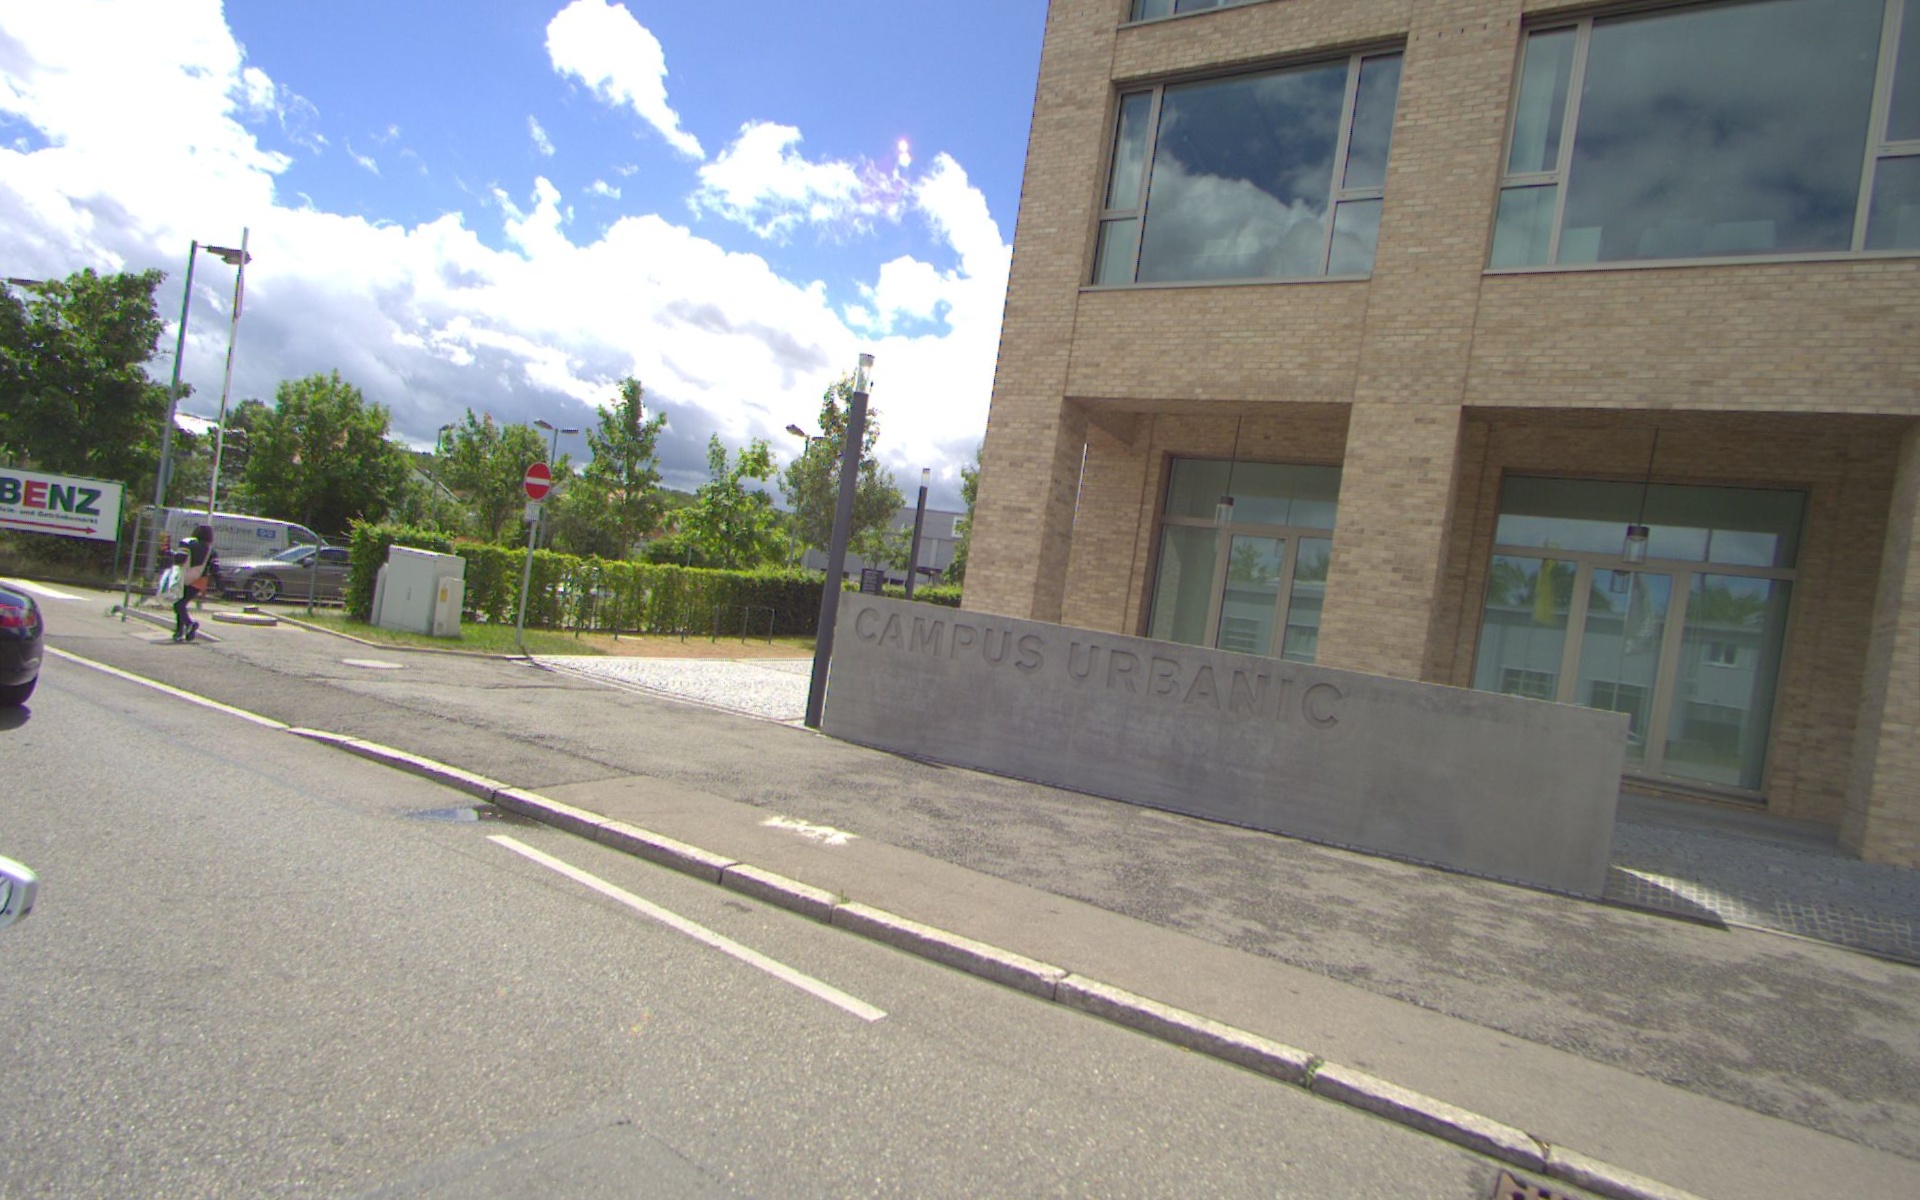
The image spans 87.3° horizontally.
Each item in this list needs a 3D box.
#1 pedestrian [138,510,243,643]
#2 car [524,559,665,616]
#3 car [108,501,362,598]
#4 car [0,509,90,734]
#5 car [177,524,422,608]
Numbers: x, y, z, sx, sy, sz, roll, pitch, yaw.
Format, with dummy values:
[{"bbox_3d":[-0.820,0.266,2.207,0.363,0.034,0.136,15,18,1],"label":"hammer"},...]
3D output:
[{"bbox_3d":[-9.744,-0.295,12.741,0.842,1.555,0.688,8,1,32],"label":"pedestrian"},{"bbox_3d":[-12.759,-0.408,35.410,1.856,1.510,4.439,7,0,29],"label":"car"},{"bbox_3d":[-18.101,-1.201,25.423,2.051,1.871,4.718,6,0,25],"label":"car"},{"bbox_3d":[-8.255,-0.108,7.292,4.141,1.393,1.932,8,0,35],"label":"car"},{"bbox_3d":[-15.670,-0.758,24.122,1.967,1.500,4.437,6,0,31],"label":"car"}]
